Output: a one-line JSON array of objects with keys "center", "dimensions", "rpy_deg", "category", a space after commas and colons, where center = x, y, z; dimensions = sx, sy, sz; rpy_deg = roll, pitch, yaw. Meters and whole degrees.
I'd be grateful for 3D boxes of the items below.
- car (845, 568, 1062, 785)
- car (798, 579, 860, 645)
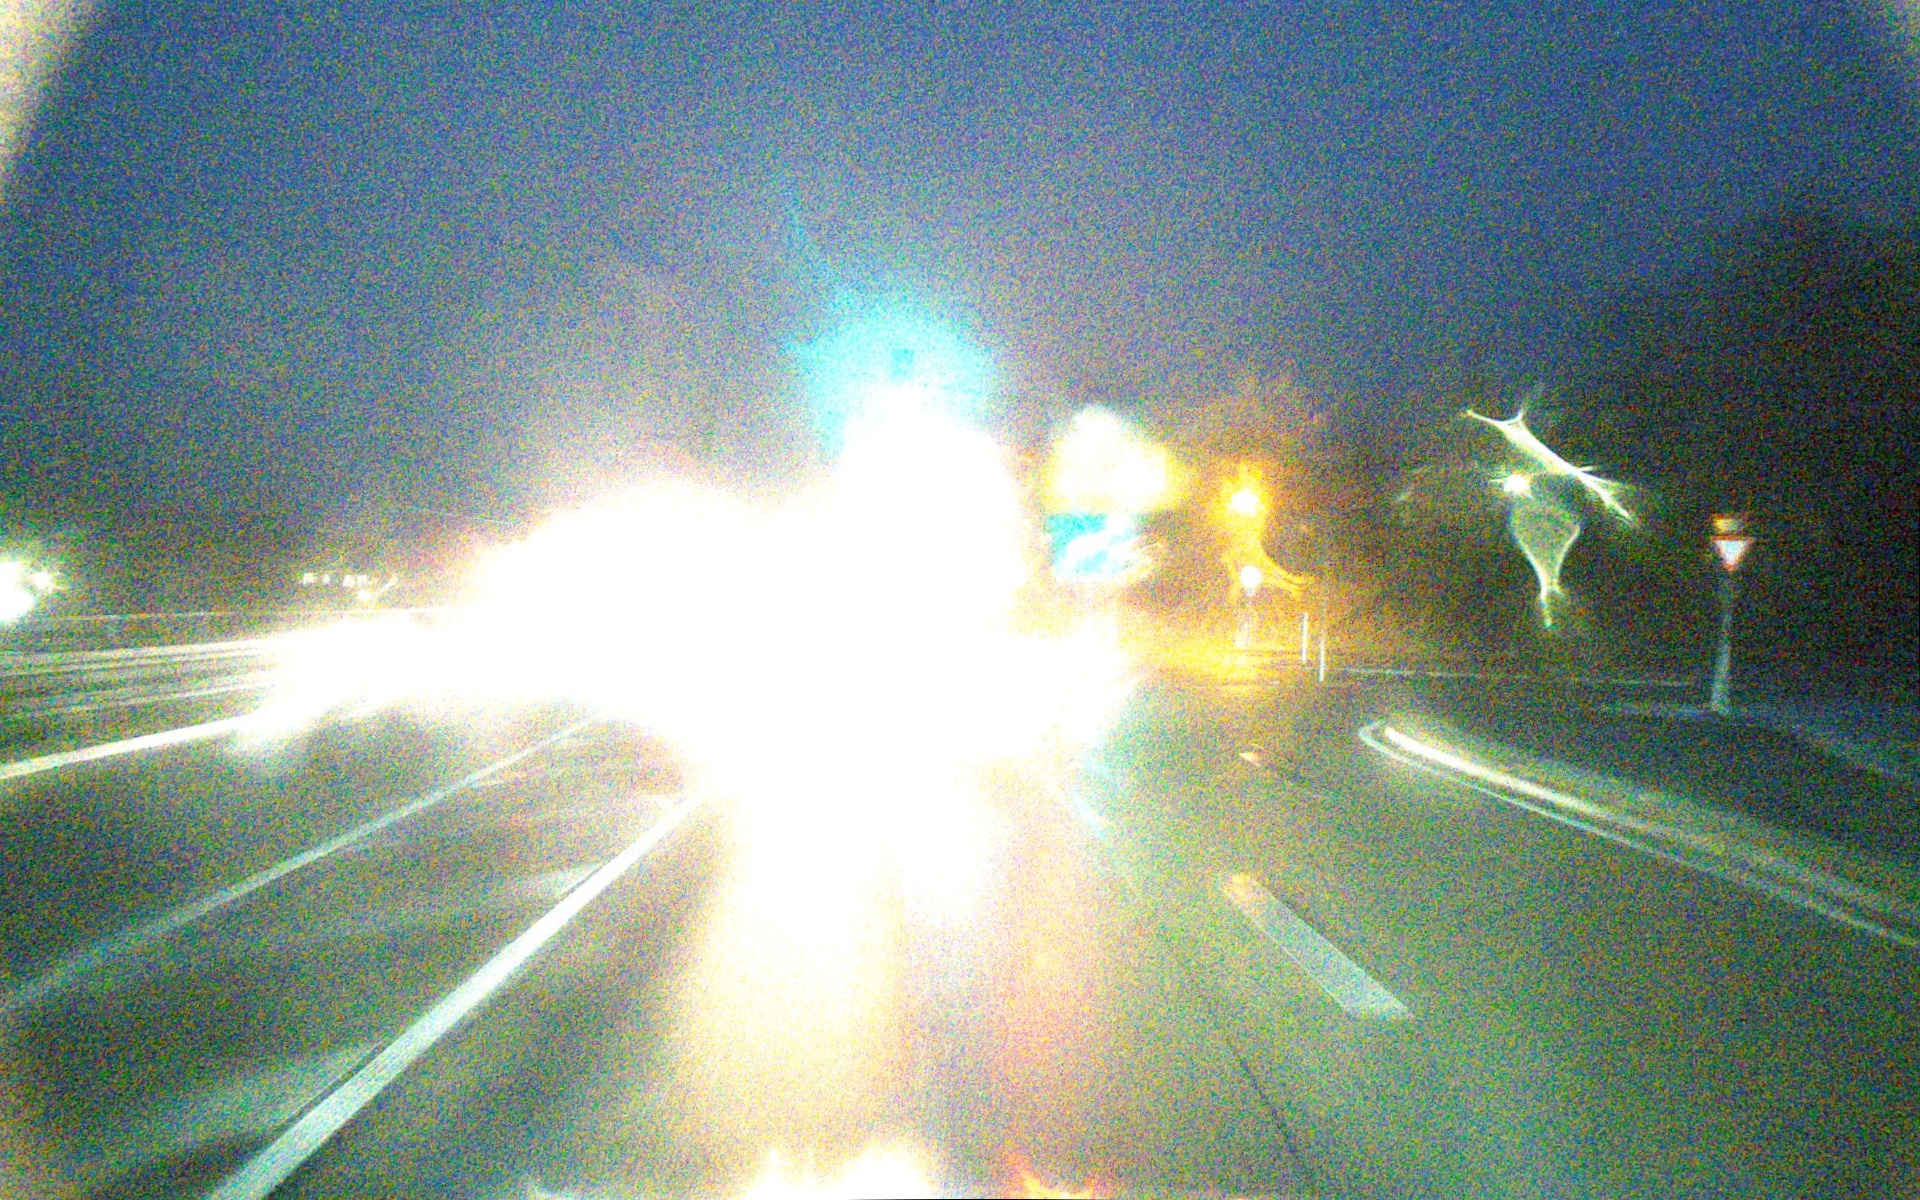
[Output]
[{"center": [-0.136, 0.622, 15.406], "dimensions": [1.740, 1.742, 3.998], "rpy_deg": [1, 0, -3], "category": "car"}, {"center": [-4.345, 0.427, 54.604], "dimensions": [1.955, 2.049, 3.994], "rpy_deg": [-1, -2, -6], "category": "car"}]
